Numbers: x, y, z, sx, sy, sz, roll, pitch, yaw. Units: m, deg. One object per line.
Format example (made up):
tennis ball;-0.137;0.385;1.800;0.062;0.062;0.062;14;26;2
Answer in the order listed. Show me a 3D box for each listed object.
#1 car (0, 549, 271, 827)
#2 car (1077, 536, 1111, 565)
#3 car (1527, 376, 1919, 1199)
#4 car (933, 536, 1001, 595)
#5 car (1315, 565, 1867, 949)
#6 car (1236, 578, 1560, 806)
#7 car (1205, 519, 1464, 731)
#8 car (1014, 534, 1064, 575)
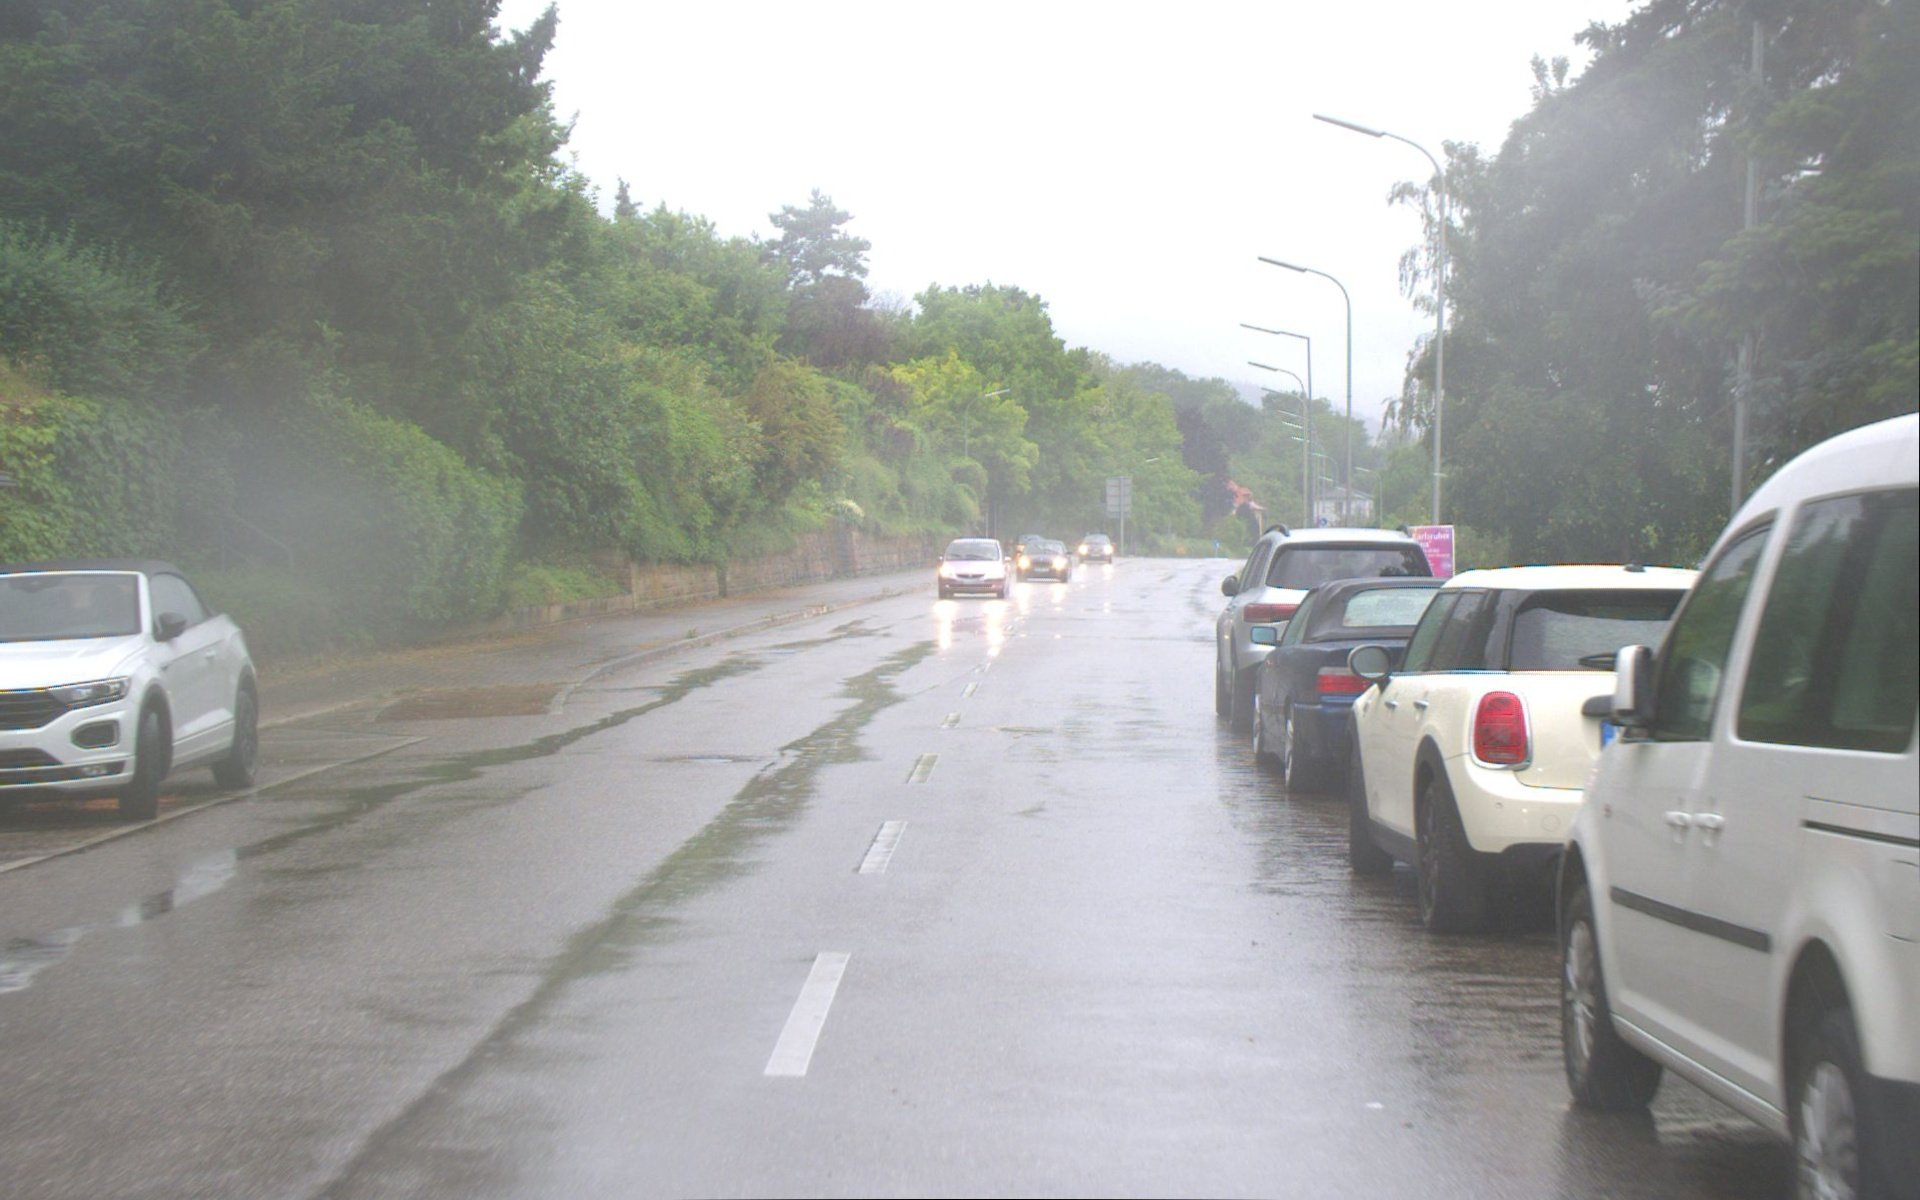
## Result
car;-5.461;0.468;20.818;1.756;1.492;4.220;-2;1;-1
car;6.920;-2.540;177.289;1.760;1.491;4.127;0;1;2
car;2.501;0.483;7.890;1.784;1.784;4.361;0;1;2
car;0.171;-0.889;87.015;1.662;1.456;3.662;0;1;-1
car;2.550;0.562;14.823;1.709;1.398;4.203;0;1;2
car;2.716;0.522;22.140;1.631;1.277;4.447;0;1;2
car;3.078;0.162;29.008;1.815;1.640;4.395;0;1;2
car;2.658;-1.547;115.522;1.654;1.347;3.987;0;1;2
